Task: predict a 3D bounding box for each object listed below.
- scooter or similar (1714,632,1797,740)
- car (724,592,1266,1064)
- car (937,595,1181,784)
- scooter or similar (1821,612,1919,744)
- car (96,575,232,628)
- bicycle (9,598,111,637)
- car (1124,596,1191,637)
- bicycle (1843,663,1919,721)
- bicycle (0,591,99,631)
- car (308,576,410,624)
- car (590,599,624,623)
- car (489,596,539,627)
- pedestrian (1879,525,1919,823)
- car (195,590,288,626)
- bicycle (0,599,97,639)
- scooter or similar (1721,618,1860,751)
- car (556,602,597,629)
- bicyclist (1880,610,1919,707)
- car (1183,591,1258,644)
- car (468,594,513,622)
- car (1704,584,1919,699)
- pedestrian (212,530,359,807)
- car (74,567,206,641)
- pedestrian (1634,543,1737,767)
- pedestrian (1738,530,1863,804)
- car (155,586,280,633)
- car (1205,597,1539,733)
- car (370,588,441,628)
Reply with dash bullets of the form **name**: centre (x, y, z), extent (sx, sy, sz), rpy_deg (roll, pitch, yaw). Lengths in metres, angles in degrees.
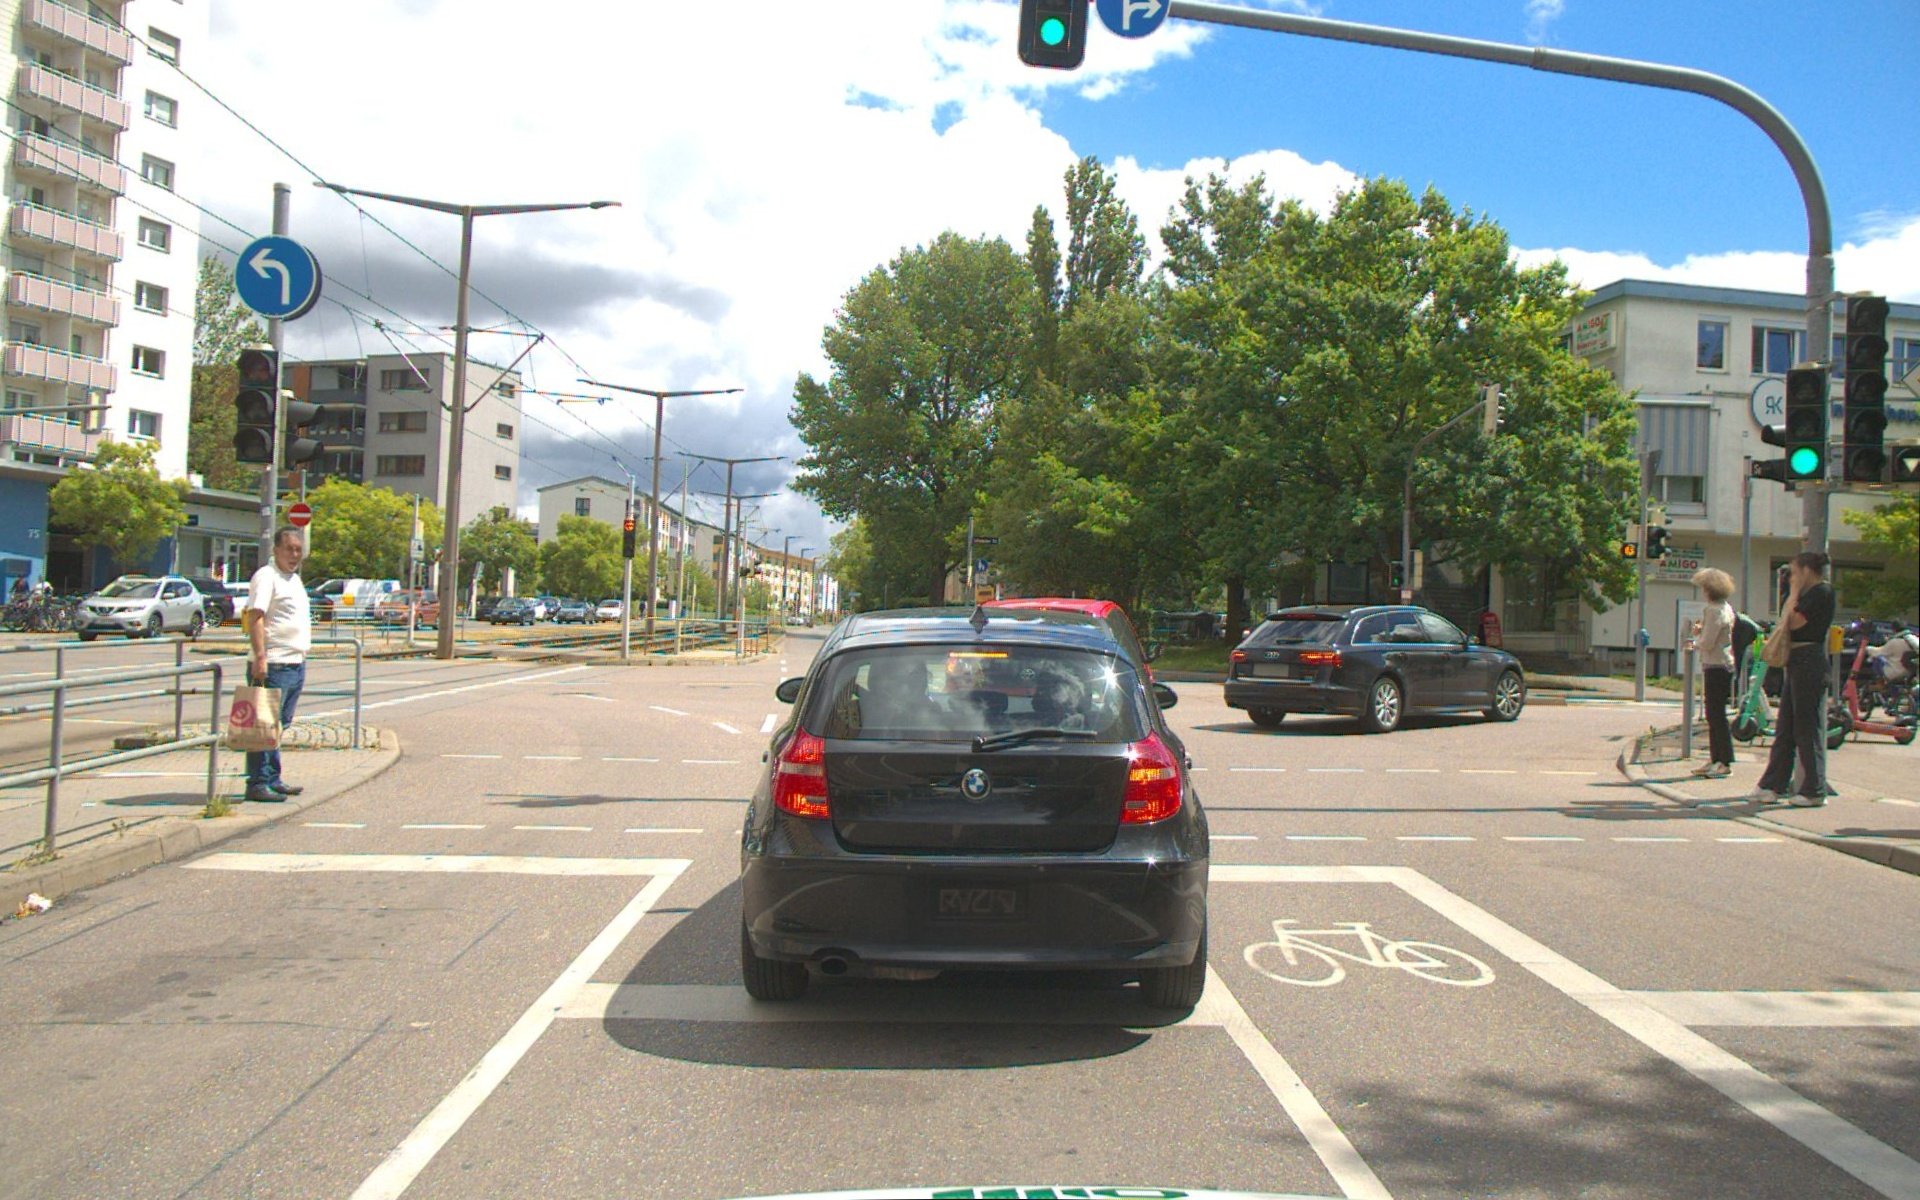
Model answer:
- **scooter or similar**: centre (8.629, 0.916, 17.976), extent (0.536, 1.082, 1.263), rpy_deg (1, 0, 14)
- **car**: centre (0.110, 0.704, 6.858), extent (1.665, 1.424, 3.420), rpy_deg (1, 1, 0)
- **car**: centre (0.990, 0.687, 14.675), extent (1.603, 1.424, 3.423), rpy_deg (1, 1, 13)
- **scooter or similar**: centre (9.589, 0.802, 17.023), extent (1.127, 1.294, 0.555), rpy_deg (2, 0, 2)
- **car**: centre (-26.584, 0.058, 55.271), extent (3.950, 1.716, 1.558), rpy_deg (1, 0, -33)
- **bicycle**: centre (-25.736, 0.516, 47.348), extent (2.527, 1.026, 0.749), rpy_deg (3, -2, -28)
- **car**: centre (8.754, 0.708, 73.759), extent (1.829, 1.691, 3.990), rpy_deg (1, 0, -11)
- **bicycle**: centre (11.719, 1.136, 20.513), extent (0.523, 0.620, 1.588), rpy_deg (1, 1, -8)
- **bicycle**: centre (-25.176, 0.306, 45.580), extent (2.527, 1.026, 0.749), rpy_deg (3, -2, -28)
- **car**: centre (-26.262, 0.008, 72.315), extent (3.891, 2.009, 1.631), rpy_deg (1, 1, -43)
- **car**: centre (-24.649, 0.766, 115.602), extent (1.618, 1.561, 3.870), rpy_deg (1, 0, -2)
- **car**: centre (-23.479, 0.607, 87.153), extent (1.618, 1.561, 3.870), rpy_deg (1, 0, -2)
- **pedestrian**: centre (6.655, 0.487, 10.678), extent (0.997, 1.909, 0.792), rpy_deg (2, 0, -24)
- **car**: centre (-27.790, 0.313, 63.962), extent (3.071, 1.303, 1.451), rpy_deg (1, 0, -36)
- **bicycle**: centre (-25.579, 0.532, 46.247), extent (2.527, 1.026, 0.749), rpy_deg (3, -2, -28)
- **scooter or similar**: centre (8.189, 0.821, 16.330), extent (1.086, 1.256, 0.540), rpy_deg (1, 0, 2)
- **car**: centre (-23.528, 0.939, 101.569), extent (1.618, 1.561, 3.870), rpy_deg (1, 0, -2)
- **bicyclist**: centre (11.738, 0.721, 20.447), extent (0.492, 1.177, 0.399), rpy_deg (1, 0, -9)
- **car**: centre (9.882, 0.626, 63.043), extent (1.694, 1.904, 3.992), rpy_deg (1, 0, -9)
- **car**: centre (-26.942, 0.441, 94.989), extent (1.559, 1.500, 3.774), rpy_deg (1, 0, -1)
- **car**: centre (16.857, 0.778, 31.566), extent (4.449, 2.049, 1.997), rpy_deg (1, 0, -7)
- **pedestrian**: centre (-4.421, 0.434, 10.882), extent (0.673, 1.764, 0.687), rpy_deg (0, 0, 0)
- **car**: centre (-21.220, 0.088, 42.950), extent (1.559, 1.787, 3.774), rpy_deg (1, 0, -1)
- **pedestrian**: centre (5.977, 0.441, 13.642), extent (0.622, 1.797, 0.518), rpy_deg (1, 0, 6)
- **pedestrian**: centre (5.998, 0.463, 11.824), extent (0.622, 1.909, 0.518), rpy_deg (1, 0, 6)
- **car**: centre (-27.296, 0.341, 60.900), extent (1.629, 1.676, 3.897), rpy_deg (1, 1, 44)
- **car**: centre (5.156, 0.750, 20.332), extent (4.503, 1.447, 1.876), rpy_deg (2, 0, -44)
- **car**: centre (-22.436, 0.302, 67.041), extent (1.618, 1.561, 3.870), rpy_deg (1, 0, -2)
